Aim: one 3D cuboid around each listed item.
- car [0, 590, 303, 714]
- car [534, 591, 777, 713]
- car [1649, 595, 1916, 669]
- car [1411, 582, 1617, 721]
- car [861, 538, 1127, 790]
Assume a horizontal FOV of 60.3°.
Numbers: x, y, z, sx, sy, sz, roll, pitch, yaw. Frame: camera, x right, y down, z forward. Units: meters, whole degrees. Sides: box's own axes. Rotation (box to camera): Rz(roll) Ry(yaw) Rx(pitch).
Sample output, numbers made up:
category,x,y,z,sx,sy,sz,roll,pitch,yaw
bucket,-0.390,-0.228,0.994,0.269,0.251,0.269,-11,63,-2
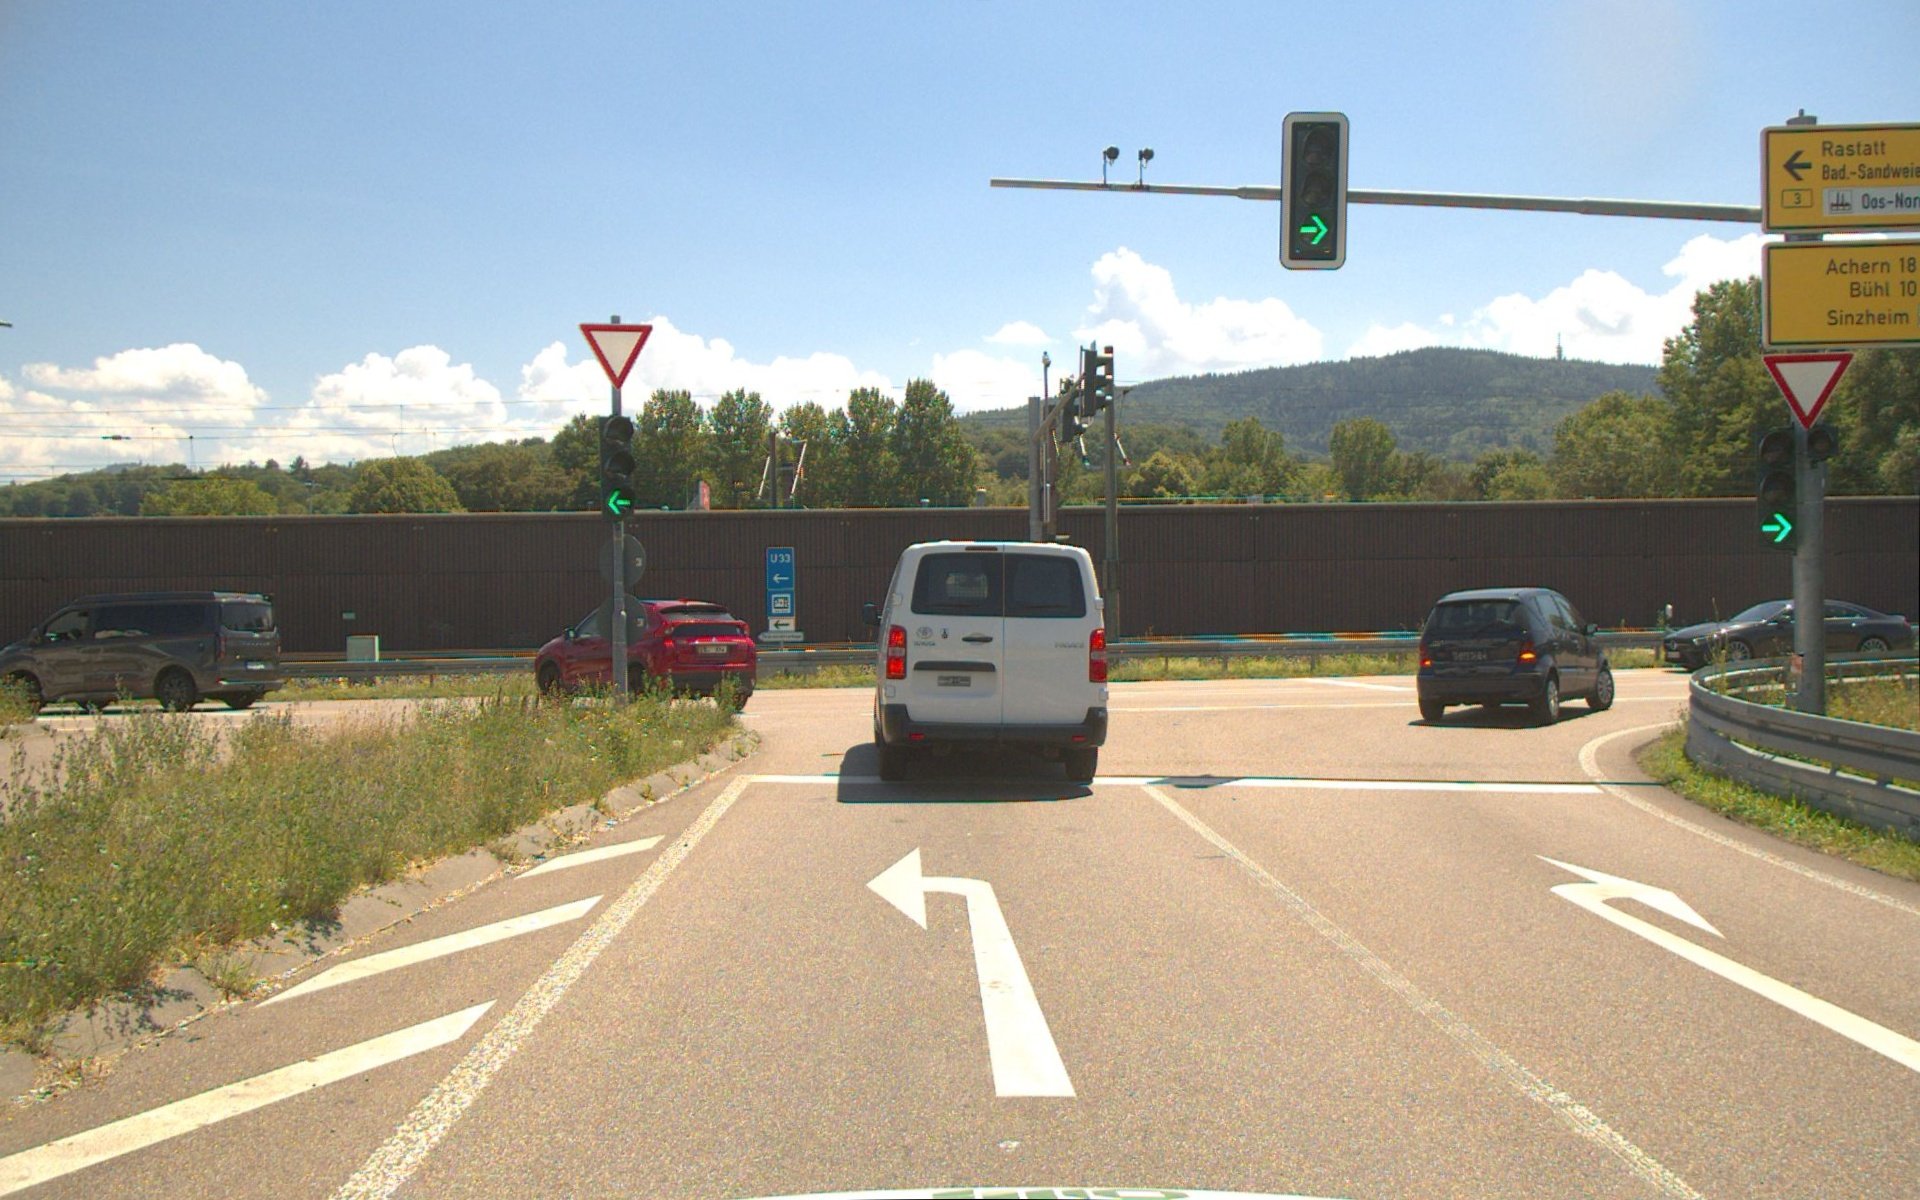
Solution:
category,x,y,z,sx,sy,sz,roll,pitch,yaw
car,-14.583,0.937,29.858,4.665,2.058,2.015,-2,-1,9
car,-4.693,0.783,25.069,1.893,1.678,4.082,0,-2,-39
car,16.832,0.654,33.986,4.541,1.388,1.911,-1,-1,-4
car,7.218,0.604,21.376,1.610,1.625,3.549,0,0,35
car,0.124,0.483,15.097,1.908,1.914,4.876,0,0,-5
